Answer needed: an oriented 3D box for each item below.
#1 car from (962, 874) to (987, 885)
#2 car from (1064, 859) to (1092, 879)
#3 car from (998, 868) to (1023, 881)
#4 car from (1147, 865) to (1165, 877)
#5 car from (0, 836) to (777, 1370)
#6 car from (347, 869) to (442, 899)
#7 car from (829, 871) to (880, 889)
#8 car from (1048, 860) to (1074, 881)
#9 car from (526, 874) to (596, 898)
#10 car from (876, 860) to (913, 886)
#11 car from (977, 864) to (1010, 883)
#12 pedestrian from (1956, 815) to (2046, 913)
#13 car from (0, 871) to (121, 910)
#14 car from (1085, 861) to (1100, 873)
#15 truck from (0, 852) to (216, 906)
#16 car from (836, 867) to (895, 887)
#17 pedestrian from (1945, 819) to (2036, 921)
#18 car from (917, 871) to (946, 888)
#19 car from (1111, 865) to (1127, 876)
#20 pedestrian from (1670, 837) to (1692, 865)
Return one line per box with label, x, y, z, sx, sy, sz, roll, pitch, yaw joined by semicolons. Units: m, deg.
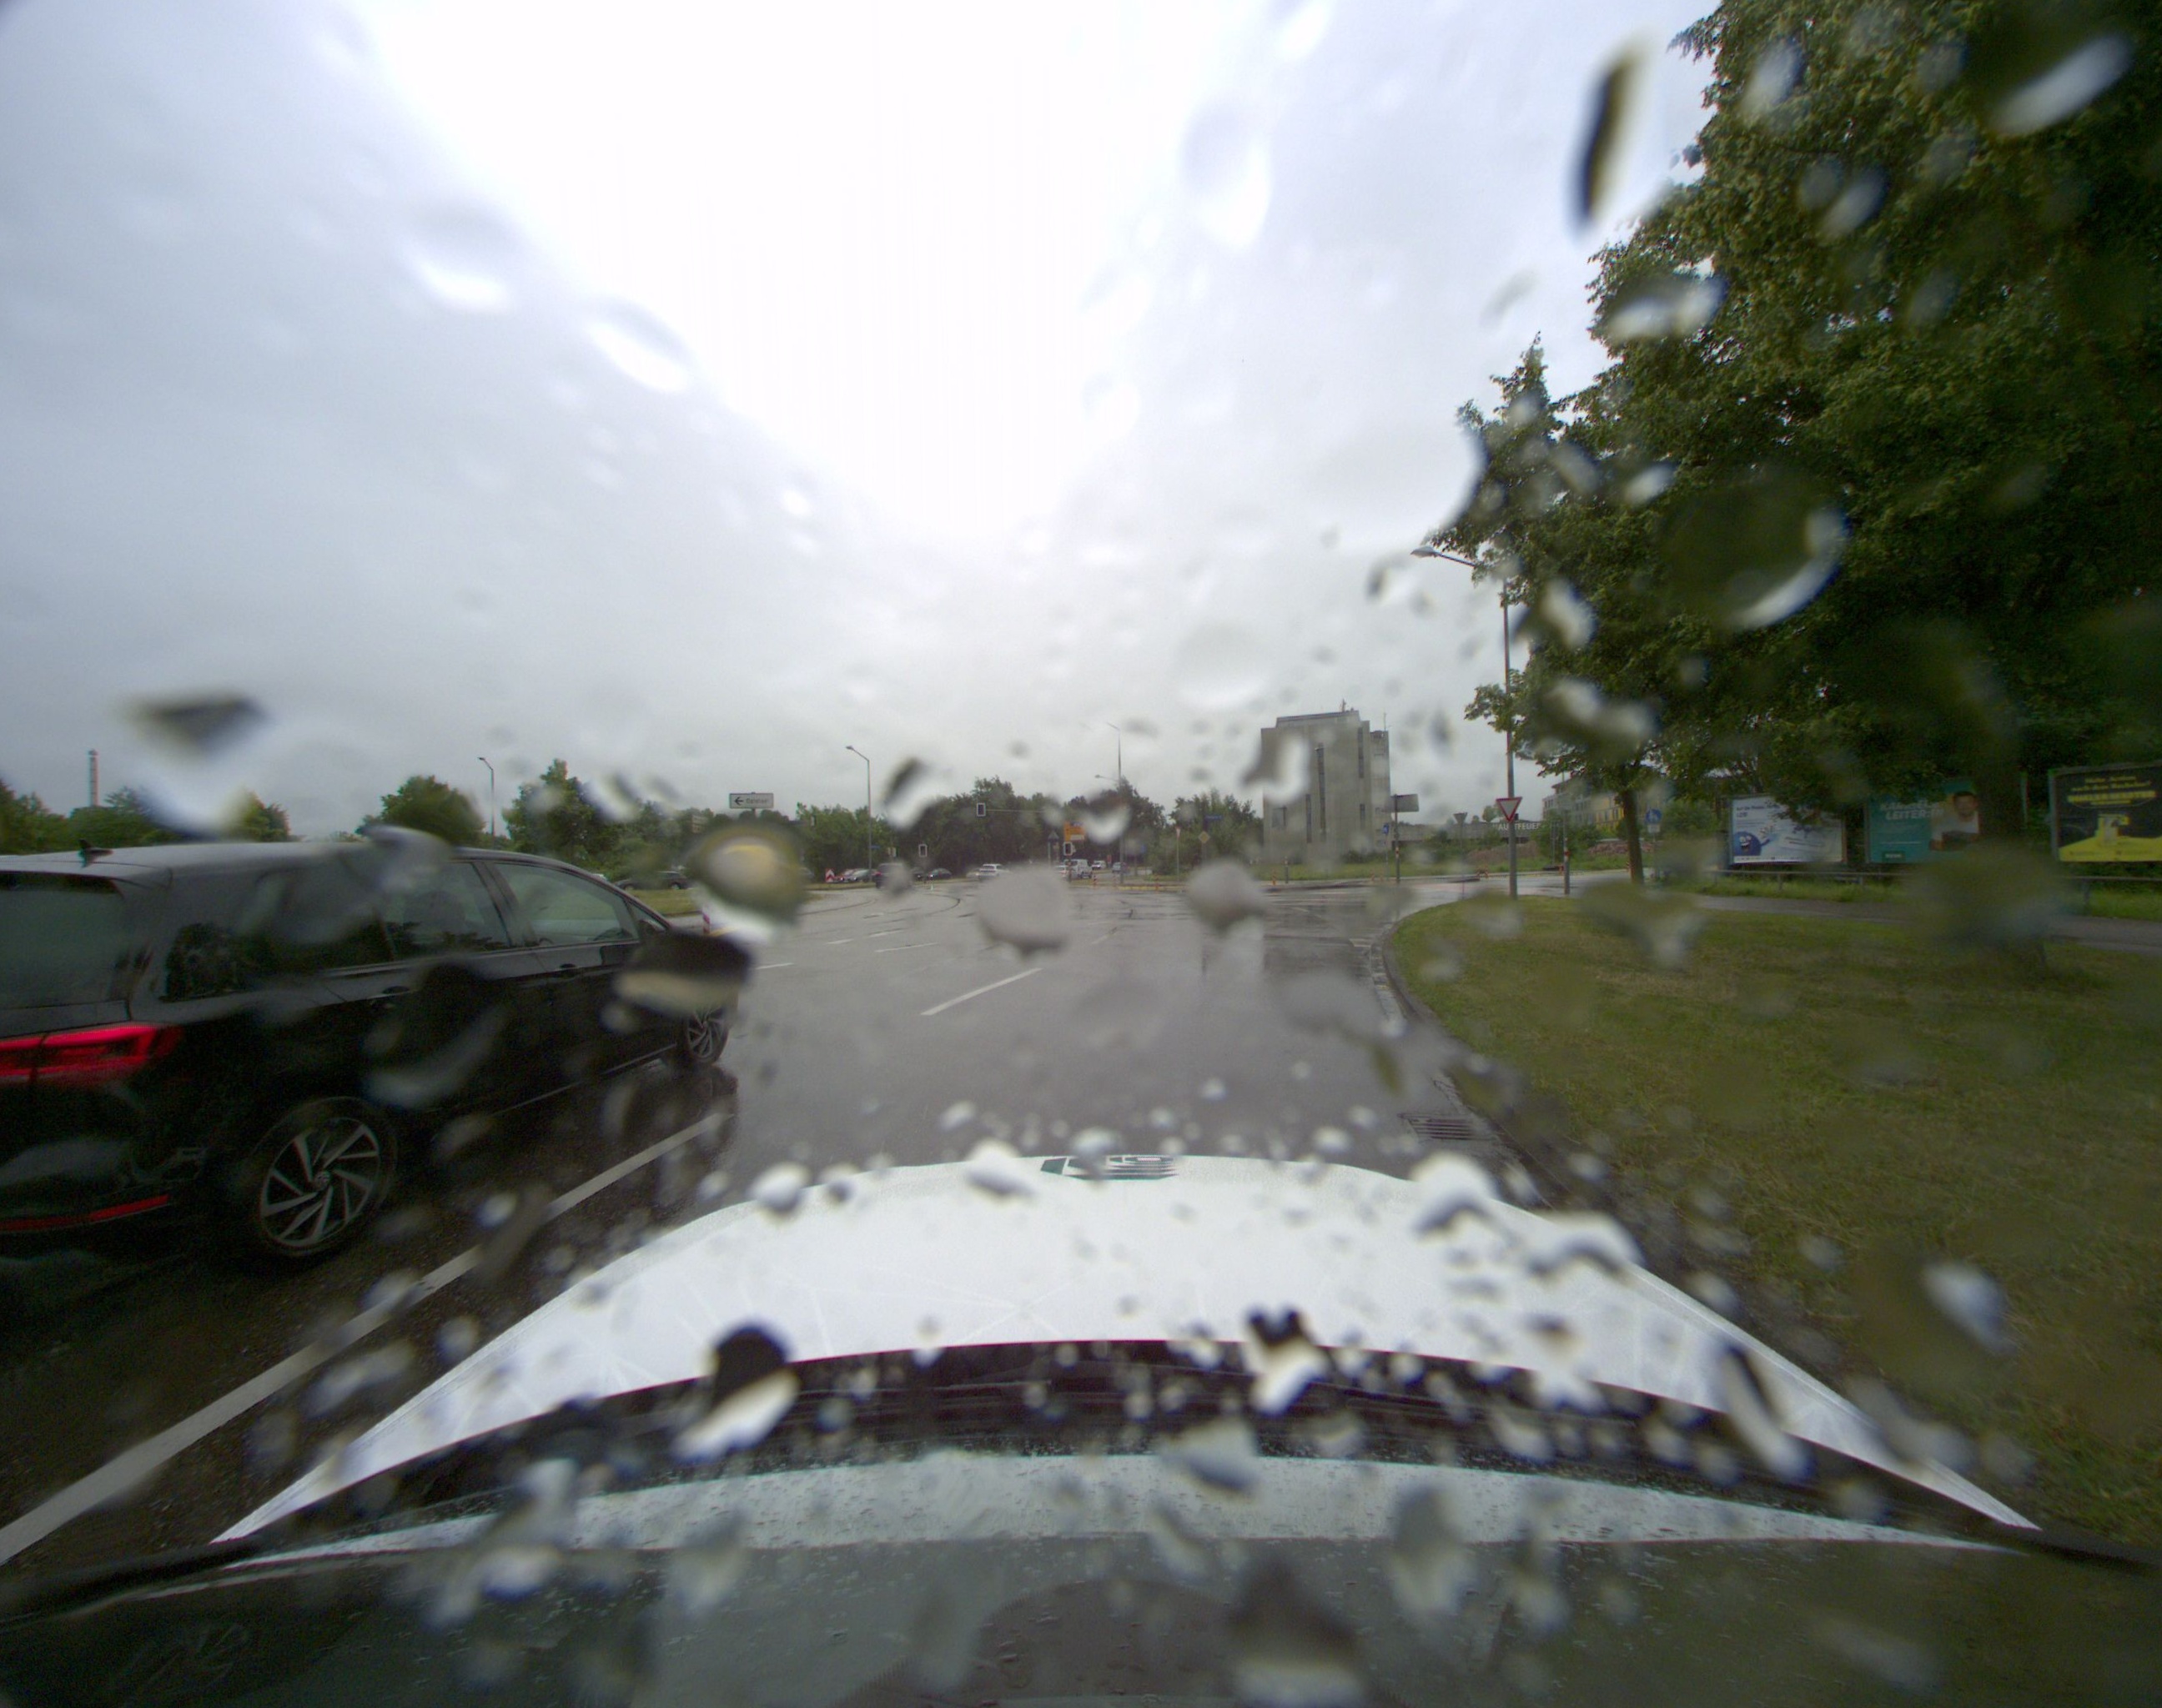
car;-13.203;3.189;101.233;1.616;1.376;4.264;0;-2;13
car;-0.315;1.609;85.697;1.769;2.036;4.017;0;-2;17
car;-9.619;2.787;111.283;1.768;1.648;4.021;0;-2;22
car;9.990;2.253;108.266;1.675;1.492;3.265;-1;0;17
car;-3.512;0.724;4.526;1.775;1.517;4.336;-1;0;4
car;-38.930;1.721;46.303;4.020;1.648;1.768;2;-2;-40
car;-21.187;2.477;76.304;1.766;1.648;4.275;-1;-2;43
car;-1.795;1.496;73.415;1.775;1.811;4.844;-1;-1;5
car;-36.925;2.244;57.868;4.020;1.648;1.768;2;-2;-40
car;-12.181;1.252;53.397;1.780;1.648;3.993;1;-2;-4
car;-7.797;1.795;72.984;1.668;1.648;3.961;0;-2;14
pedestrian;17.385;0.203;15.419;0.912;1.784;0.813;-1;-2;34
car;-47.826;1.649;37.290;1.755;1.744;4.896;-1;-2;38
car;2.059;2.322;144.431;1.774;2.014;3.688;0;-2;16
truck;-52.962;1.352;43.670;1.975;2.712;8.847;-1;-2;45
car;-17.929;1.927;67.884;4.414;1.648;1.768;2;-2;-39
pedestrian;16.605;0.291;14.903;0.912;1.784;0.813;-1;-2;34
car;-15.528;2.652;84.849;1.774;1.648;4.400;1;-2;6
car;5.215;2.245;111.185;1.678;1.492;3.260;-1;0;10
pedestrian;44.347;-0.202;60.224;1.132;2.014;0.843;1;-2;-21
